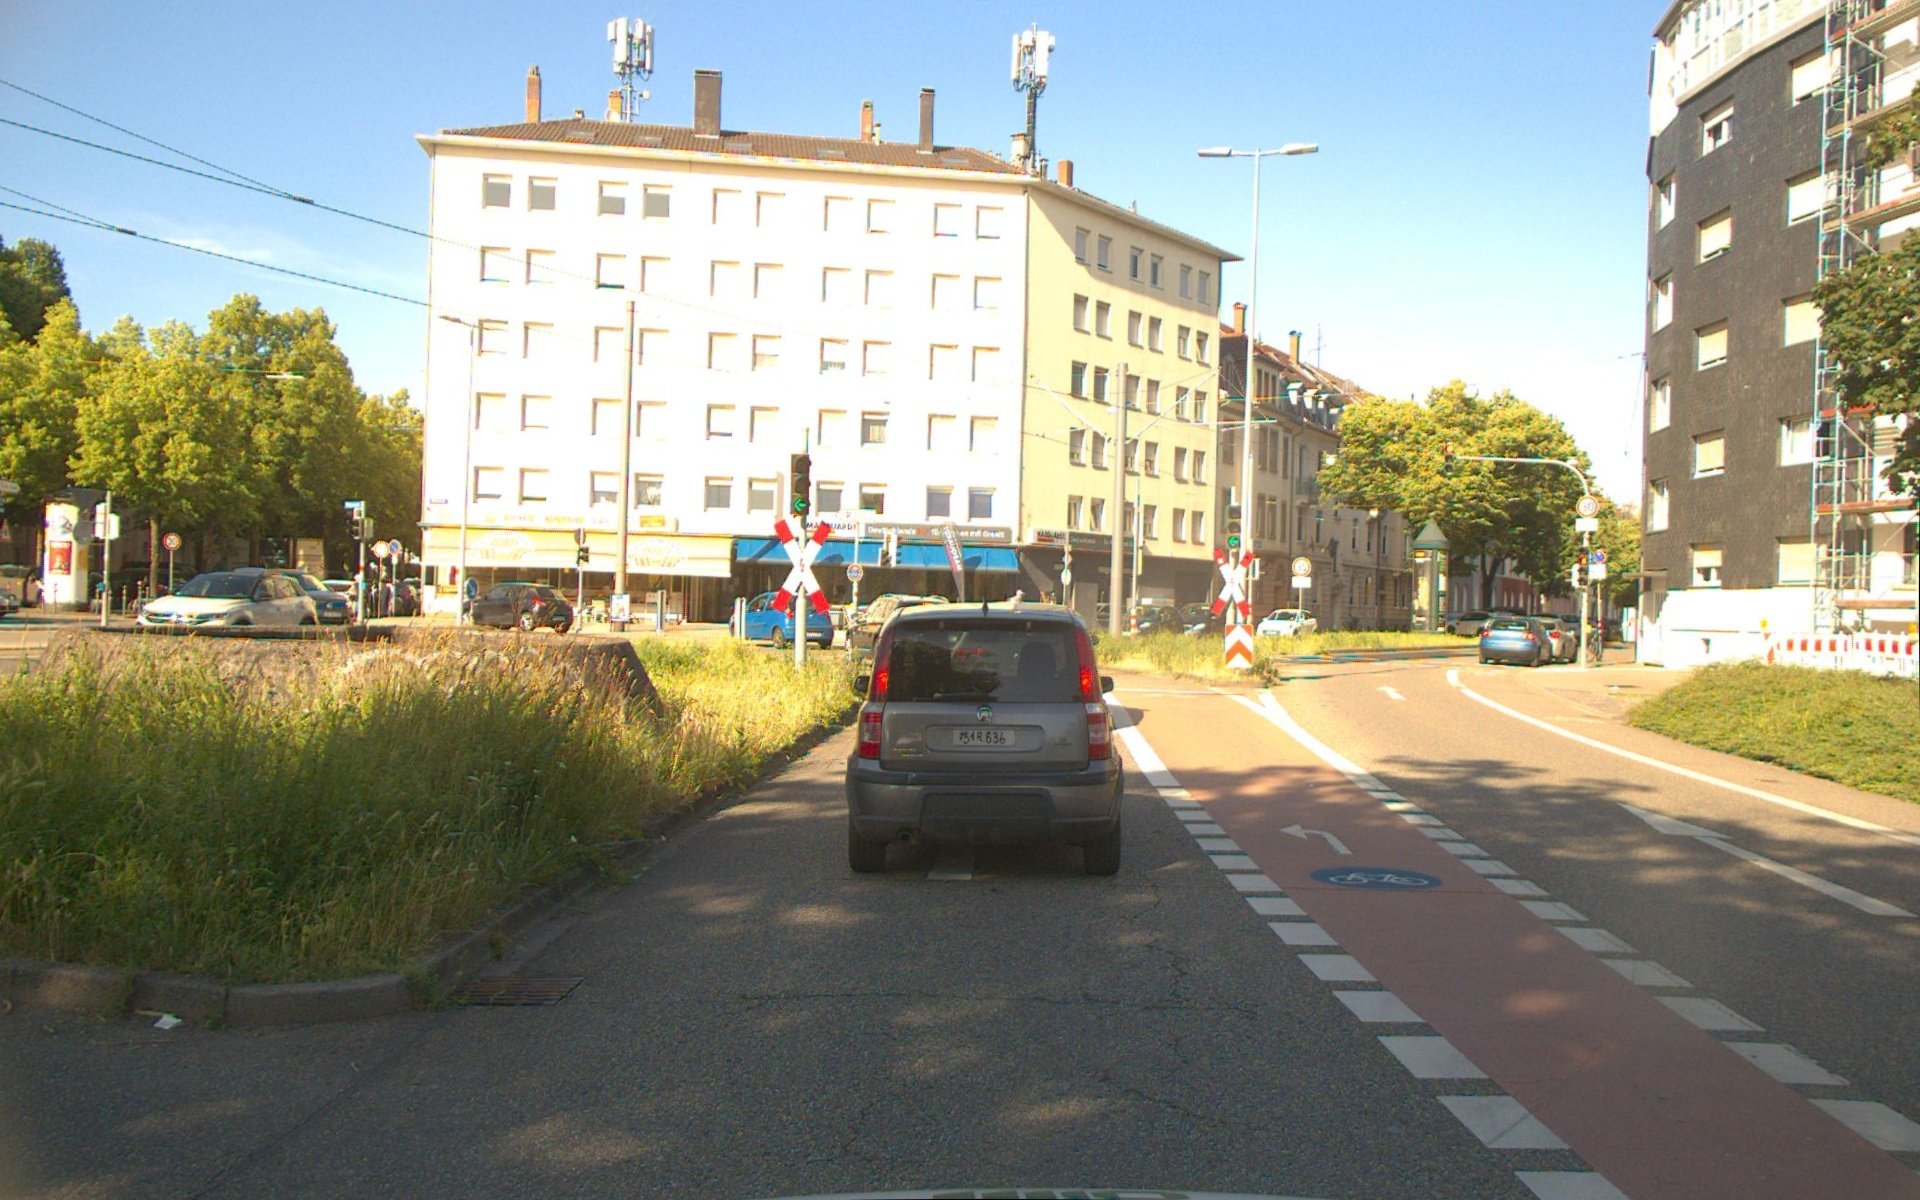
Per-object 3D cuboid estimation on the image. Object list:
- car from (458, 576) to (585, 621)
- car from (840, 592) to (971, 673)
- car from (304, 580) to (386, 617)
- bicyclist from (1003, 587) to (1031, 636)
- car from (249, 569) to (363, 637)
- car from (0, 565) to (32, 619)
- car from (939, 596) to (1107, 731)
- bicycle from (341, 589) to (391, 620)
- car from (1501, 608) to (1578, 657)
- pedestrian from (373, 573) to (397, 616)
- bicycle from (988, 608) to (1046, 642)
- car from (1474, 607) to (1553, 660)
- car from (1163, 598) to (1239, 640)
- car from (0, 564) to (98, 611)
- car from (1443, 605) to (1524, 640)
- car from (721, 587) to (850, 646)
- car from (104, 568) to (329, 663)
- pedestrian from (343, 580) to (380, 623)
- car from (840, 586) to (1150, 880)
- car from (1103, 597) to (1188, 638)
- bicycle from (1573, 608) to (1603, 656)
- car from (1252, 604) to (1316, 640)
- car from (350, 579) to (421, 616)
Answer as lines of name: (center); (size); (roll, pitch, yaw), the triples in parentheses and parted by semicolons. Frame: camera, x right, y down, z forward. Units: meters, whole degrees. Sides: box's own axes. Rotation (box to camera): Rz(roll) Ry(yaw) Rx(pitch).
car: (-13.531, -0.047, 50.995); (3.544, 1.275, 1.694); (2, 0, 27)
car: (-1.196, 0.624, 34.228); (1.731, 1.512, 4.275); (2, 0, -15)
car: (-23.938, -0.059, 64.534); (1.955, 1.333, 3.996); (2, 0, -5)
bicyclist: (1.889, 0.364, 54.527); (0.803, 1.586, 0.562); (1, 0, 13)
car: (-17.102, 0.047, 43.136); (1.738, 1.642, 4.666); (2, 0, -35)
car: (-29.188, -0.181, 46.785); (4.775, 1.467, 1.731); (-1, -1, -8)
car: (0.681, 0.702, 20.167); (1.589, 1.454, 3.685); (2, 0, -5)
bicycle: (-20.734, 0.158, 57.710); (1.821, 0.968, 0.782); (2, -1, 38)
car: (19.207, 1.039, 54.701); (1.785, 1.534, 3.994); (1, 0, 28)
pedestrian: (-22.332, -0.219, 64.223); (0.782, 1.650, 0.822); (1, 0, -27)
bicycle: (1.876, 0.807, 54.525); (1.812, 1.050, 0.589); (2, 0, 13)
car: (16.877, 0.993, 50.352); (1.741, 1.468, 3.614); (2, 1, 27)
car: (9.718, 0.751, 66.457); (1.757, 1.593, 3.759); (2, 0, 30)
car: (-34.775, -0.490, 62.851); (3.440, 1.723, 1.614); (1, 1, 18)
car: (25.885, 1.093, 81.887); (1.875, 1.621, 3.980); (2, 0, -18)
car: (-4.733, 0.438, 44.652); (3.336, 1.463, 1.641); (2, 0, 42)
car: (-13.810, 0.278, 31.034); (1.952, 1.590, 4.389); (2, 0, 4)
pedestrian: (-20.955, 0.046, 57.877); (0.920, 1.452, 0.773); (2, -1, 37)
car: (0.103, 0.715, 10.474); (1.627, 1.536, 3.249); (2, 0, -3)
car: (6.908, 0.661, 61.322); (1.757, 1.420, 3.718); (2, 0, 30)
bicycle: (21.112, 1.065, 55.613); (0.562, 1.537, 2.803); (1, 0, 28)
car: (14.581, 0.987, 74.225); (1.757, 1.508, 3.525); (2, 0, 30)
car: (-25.105, -0.122, 72.407); (1.898, 1.539, 3.937); (2, 0, -3)
